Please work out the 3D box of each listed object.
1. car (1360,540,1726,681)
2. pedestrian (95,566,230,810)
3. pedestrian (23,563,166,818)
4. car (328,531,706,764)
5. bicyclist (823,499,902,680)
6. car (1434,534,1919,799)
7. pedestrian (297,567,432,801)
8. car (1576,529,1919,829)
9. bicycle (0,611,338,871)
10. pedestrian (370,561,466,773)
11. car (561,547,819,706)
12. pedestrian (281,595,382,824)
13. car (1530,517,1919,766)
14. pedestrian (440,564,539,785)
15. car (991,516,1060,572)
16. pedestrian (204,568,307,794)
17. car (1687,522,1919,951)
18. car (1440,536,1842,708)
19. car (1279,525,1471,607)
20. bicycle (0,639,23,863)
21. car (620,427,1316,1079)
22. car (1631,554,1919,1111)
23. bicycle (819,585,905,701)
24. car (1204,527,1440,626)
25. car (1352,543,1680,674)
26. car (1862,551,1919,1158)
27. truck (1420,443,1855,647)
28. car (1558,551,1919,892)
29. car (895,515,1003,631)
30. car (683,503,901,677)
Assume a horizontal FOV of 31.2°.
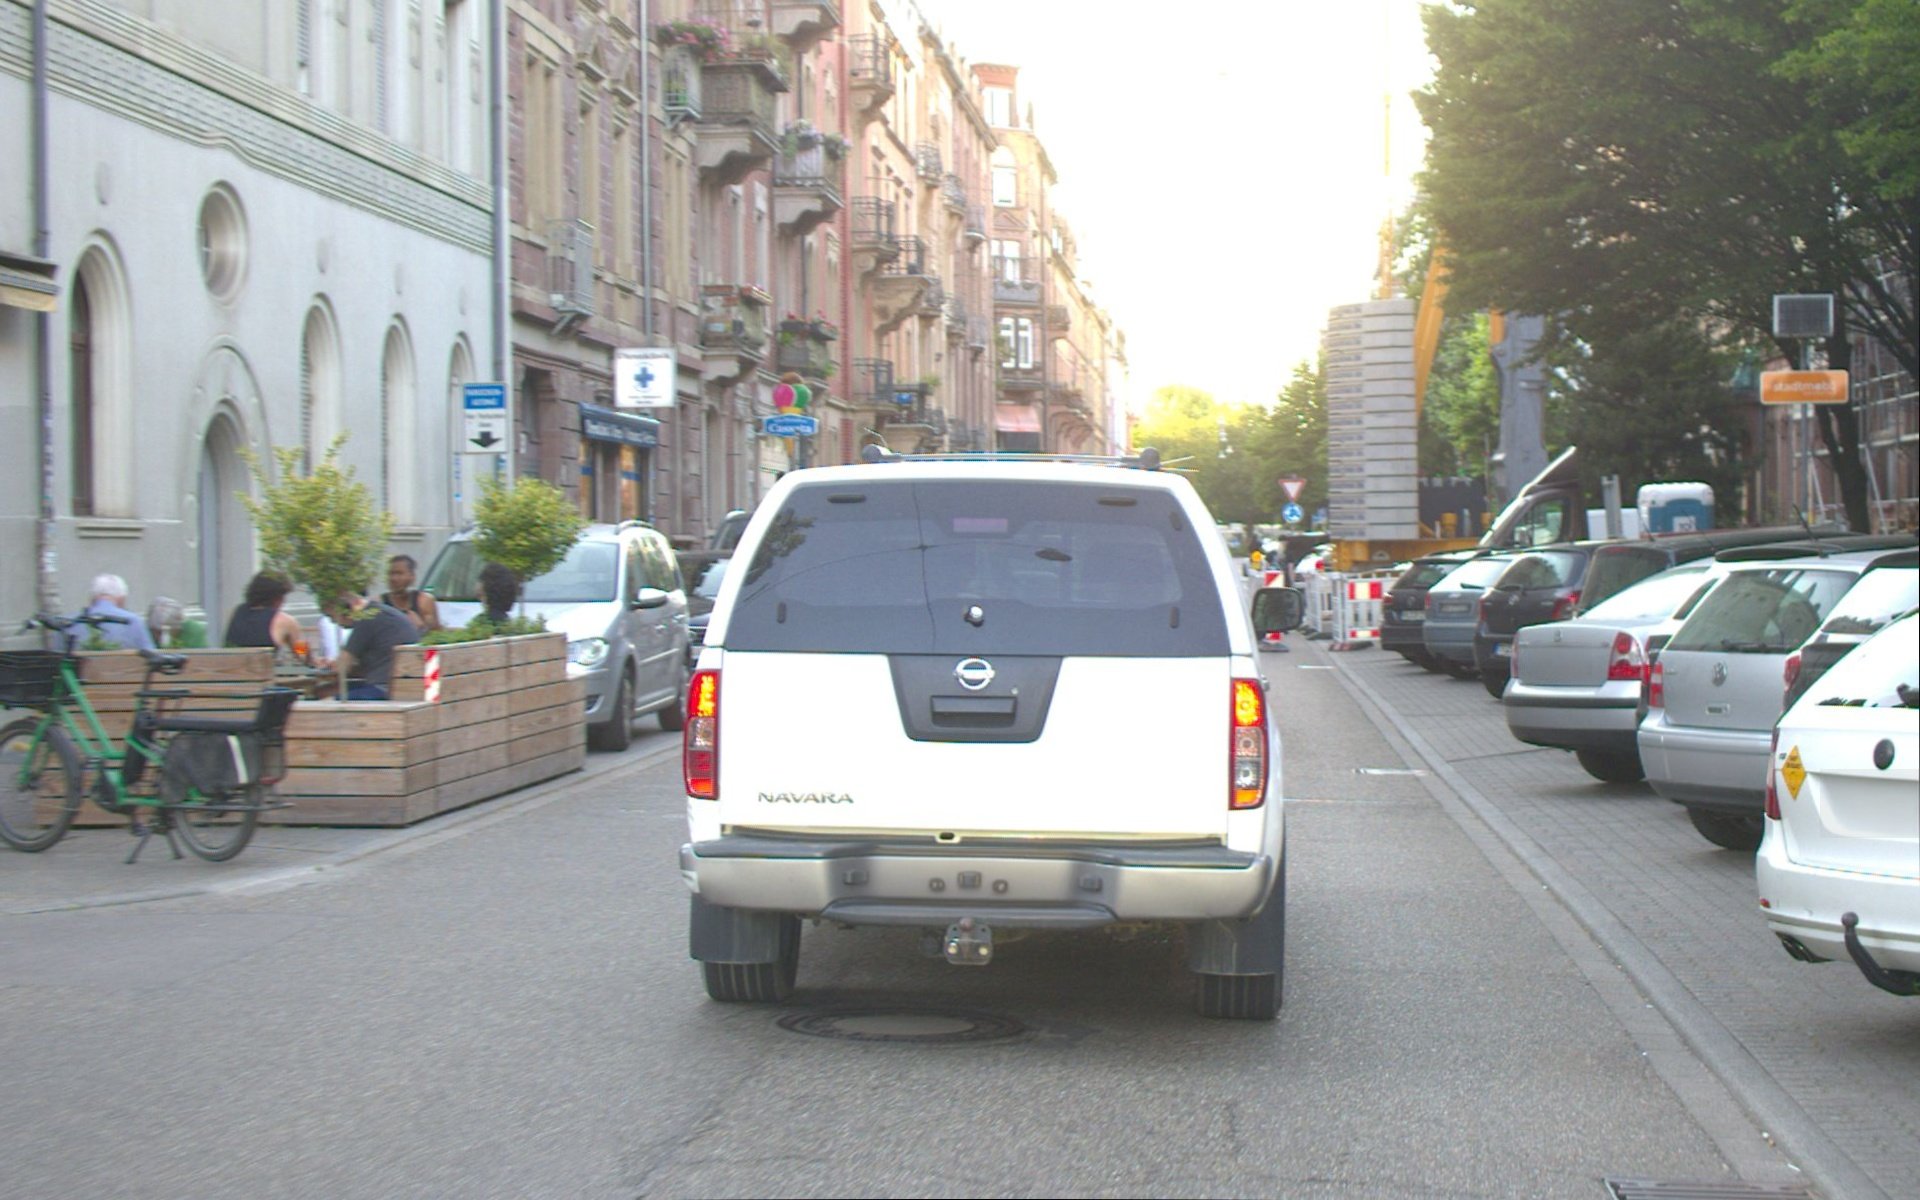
[{"bbox_3d":[6.635,0.089,39.045,3.825,1.432,1.763,-2,2,-30],"label":"car"},{"bbox_3d":[-4.423,0.476,19.087,0.537,1.320,0.705,0,1,5],"label":"pedestrian"},{"bbox_3d":[-4.580,0.464,18.219,0.537,1.320,0.705,0,1,5],"label":"pedestrian"},{"bbox_3d":[-3.205,0.290,25.772,1.994,1.586,4.314,0,1,4],"label":"car"},{"bbox_3d":[-0.916,-0.108,32.502,0.603,1.679,1.142,0,1,5],"label":"bicyclist"},{"bbox_3d":[5.388,0.357,21.767,4.371,1.529,1.808,-1,1,-19],"label":"car"},{"bbox_3d":[-3.433,0.474,19.872,0.609,1.320,0.770,0,1,3],"label":"pedestrian"},{"bbox_3d":[5.384,0.371,19.064,3.593,1.529,1.563,-1,1,-23],"label":"car"},{"bbox_3d":[-3.861,0.623,15.866,2.113,1.091,0.500,1,2,29],"label":"bicycle"},{"bbox_3d":[-3.487,0.423,22.139,0.517,1.345,0.540,0,1,2],"label":"pedestrian"},{"bbox_3d":[-2.640,0.212,34.609,1.912,1.467,4.533,1,1,4],"label":"car"},{"bbox_3d":[-3.779,0.649,20.701,0.468,1.345,0.611,0,1,3],"label":"pedestrian"},{"bbox_3d":[6.310,0.240,24.618,3.986,1.631,1.759,-2,1,-15],"label":"car"},{"bbox_3d":[-2.909,0.450,21.279,0.484,1.345,0.669,0,1,3],"label":"pedestrian"},{"bbox_3d":[1.845,-1.569,95.932,1.710,1.525,4.000,0,1,4],"label":"car"},{"bbox_3d":[-4.268,0.480,20.853,0.468,1.345,0.611,0,1,3],"label":"pedestrian"},{"bbox_3d":[4.899,0.464,13.836,3.593,1.575,1.716,-1,1,-28],"label":"car"},{"bbox_3d":[6.560,0.172,33.136,3.396,1.469,1.775,-3,2,-26],"label":"car"},{"bbox_3d":[9.256,-0.771,76.706,4.196,1.774,1.819,1,1,7],"label":"car"},{"bbox_3d":[-4.781,0.714,15.053,0.423,1.009,1.717,1,2,18],"label":"bicycle"},{"bbox_3d":[0.204,0.389,12.117,1.933,1.788,4.621,2,1,5],"label":"car"},{"bbox_3d":[4.252,0.614,10.896,3.986,1.532,1.636,-1,1,-26],"label":"car"},{"bbox_3d":[-0.916,0.392,32.471,0.614,1.036,1.904,0,1,4],"label":"bicycle"},{"bbox_3d":[6.686,-0.448,63.304,4.197,1.774,1.819,1,1,10],"label":"car"},{"bbox_3d":[6.777,0.079,41.769,3.881,1.525,1.638,0,1,-35],"label":"car"},{"bbox_3d":[4.479,0.591,8.853,3.986,1.518,1.710,-1,0,-26],"label":"car"},{"bbox_3d":[10.257,-0.819,52.515,6.322,2.966,2.263,1,-2,6],"label":"truck"},{"bbox_3d":[4.899,0.505,16.601,3.593,1.477,1.723,-1,1,-23],"label":"car"},{"bbox_3d":[-0.162,-0.492,60.023,1.559,1.914,3.856,2,1,4],"label":"car"},{"bbox_3d":[-1.911,-0.154,40.609,1.905,1.919,4.946,1,1,5],"label":"car"}]
